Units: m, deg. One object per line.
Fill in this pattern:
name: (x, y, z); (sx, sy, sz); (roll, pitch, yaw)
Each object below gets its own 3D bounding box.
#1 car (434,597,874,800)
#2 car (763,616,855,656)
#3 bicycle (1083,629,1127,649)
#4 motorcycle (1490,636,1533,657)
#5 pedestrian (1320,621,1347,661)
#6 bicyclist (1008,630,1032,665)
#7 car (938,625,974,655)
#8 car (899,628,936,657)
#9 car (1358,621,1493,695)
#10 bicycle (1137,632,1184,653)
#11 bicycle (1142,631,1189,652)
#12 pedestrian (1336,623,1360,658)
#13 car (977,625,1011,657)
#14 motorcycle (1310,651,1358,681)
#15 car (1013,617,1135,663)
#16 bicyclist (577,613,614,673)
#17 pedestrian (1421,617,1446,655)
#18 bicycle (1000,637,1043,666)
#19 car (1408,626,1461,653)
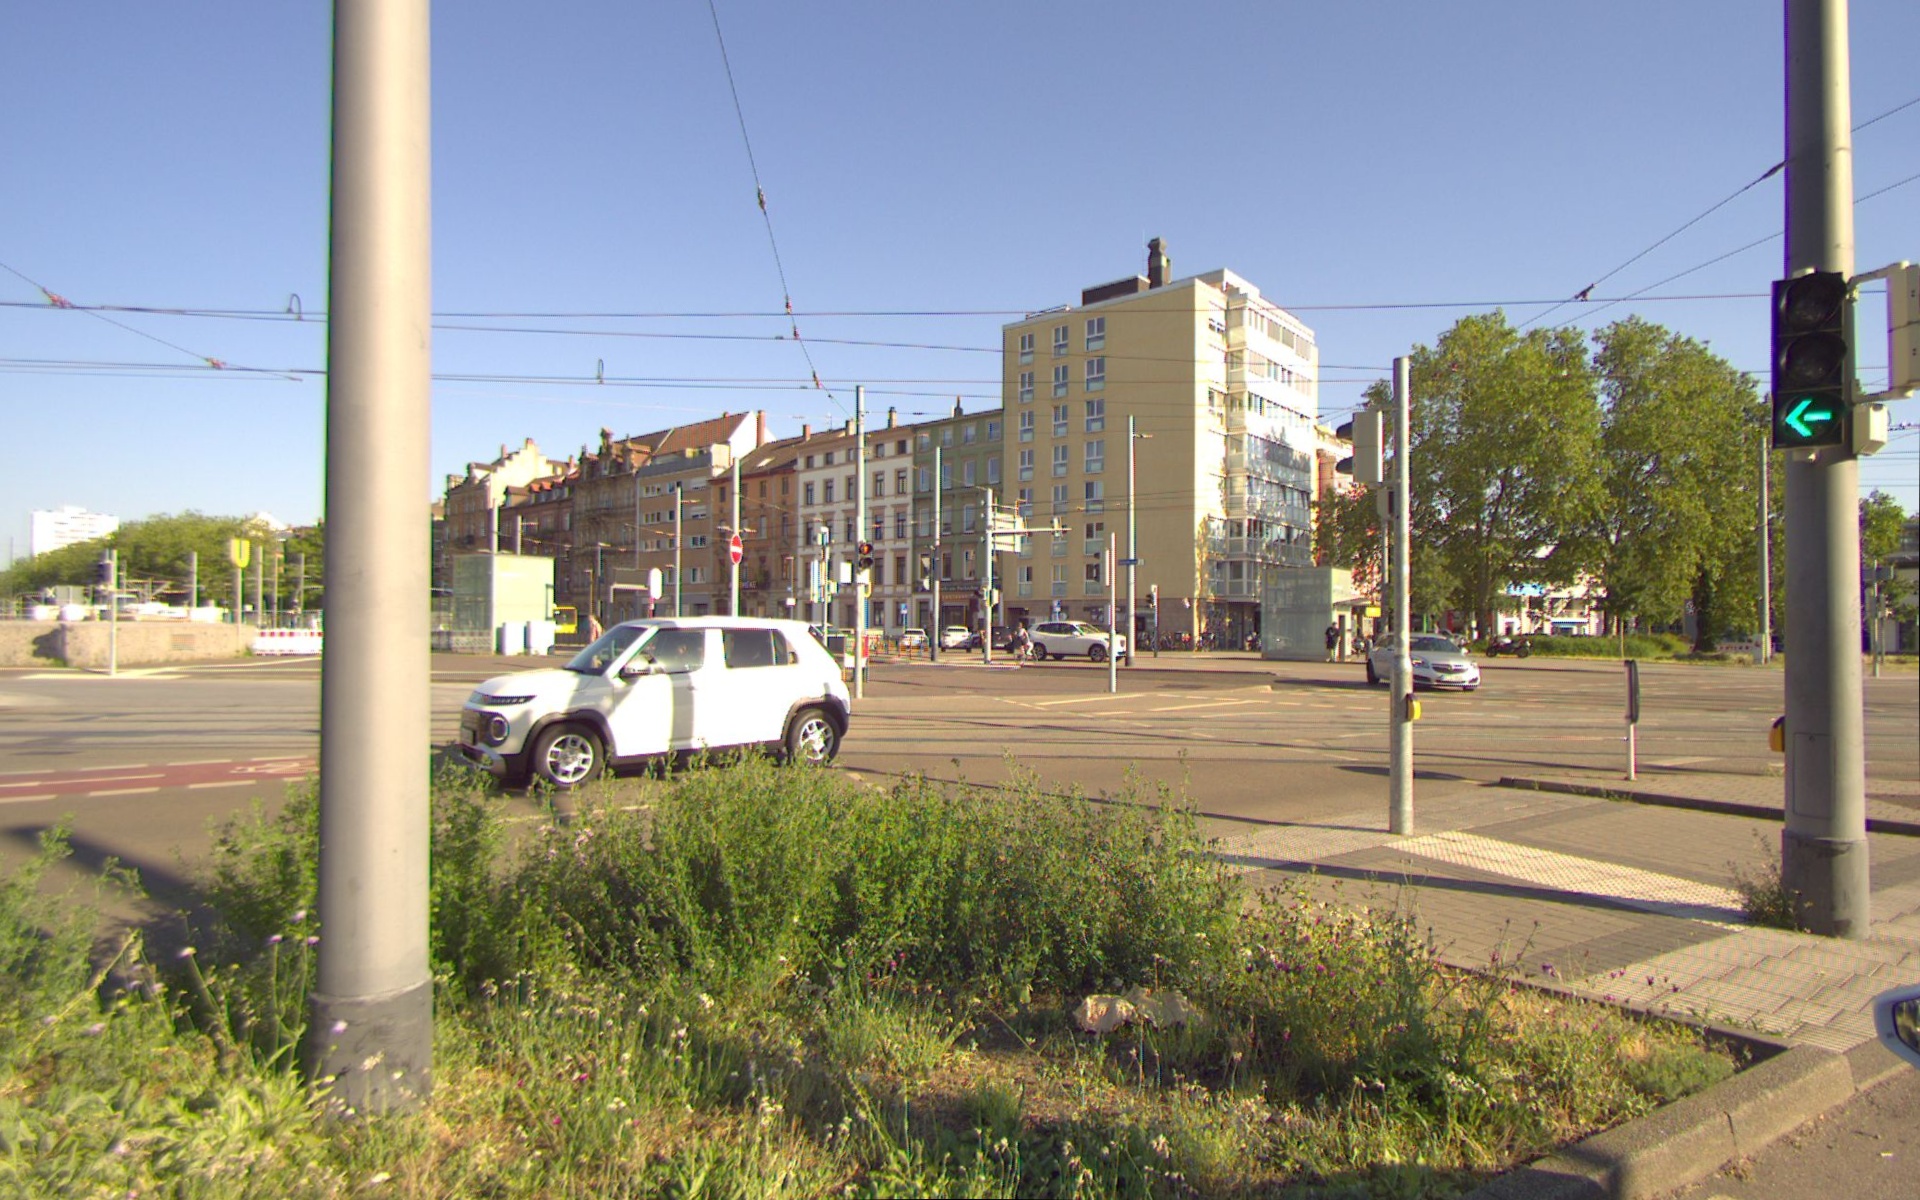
car: (-3.047, 0.890, 10.372); (3.964, 1.684, 1.767); (2, 0, -38)
car: (-7.949, 1.853, 52.624); (4.836, 1.849, 1.991); (2, 0, 40)
bicycle: (9.430, 2.518, 65.637); (3.002, 1.167, 0.637); (2, 0, 43)
motorcycle: (27.333, 2.285, 49.802); (1.752, 0.926, 0.676); (2, 0, 40)
pedestrian: (16.651, 1.815, 44.818); (0.747, 1.728, 0.792); (2, 0, -23)
bicyclist: (2.380, 1.883, 39.935); (0.617, 1.368, 0.659); (2, 0, 44)
car: (-0.209, 2.484, 63.172); (1.960, 1.728, 4.001); (2, 0, 3)
car: (-2.732, 2.743, 65.593); (1.960, 1.728, 4.001); (2, 0, 3)
car: (12.261, 1.454, 26.816); (1.750, 1.684, 4.723); (2, 0, 5)
bicycle: (12.481, 2.642, 62.654); (3.002, 1.167, 0.637); (2, 0, 43)
bicycle: (12.927, 2.618, 63.187); (3.002, 1.167, 0.637); (2, 0, 43)
pedestrian: (19.557, 2.052, 50.590); (0.747, 1.728, 0.792); (2, 0, -23)
car: (2.084, 2.455, 60.860); (1.960, 1.728, 4.001); (2, 0, 3)
motorcycle: (24.647, 4.319, 66.263); (2.646, 1.793, 1.348); (2, 0, 45)
car: (4.791, 1.680, 42.666); (4.835, 1.848, 1.992); (-1, -3, 39)
bicyclist: (-10.675, 1.245, 29.404); (0.653, 1.706, 0.980); (2, 0, 1)
pedestrian: (24.026, 1.813, 50.959); (0.747, 1.911, 0.792); (2, 0, -23)
bicycle: (2.455, 2.032, 39.999); (0.617, 1.104, 1.914); (2, 0, 43)
car: (30.025, 2.482, 63.537); (3.974, 1.588, 1.753); (2, -1, -45)
